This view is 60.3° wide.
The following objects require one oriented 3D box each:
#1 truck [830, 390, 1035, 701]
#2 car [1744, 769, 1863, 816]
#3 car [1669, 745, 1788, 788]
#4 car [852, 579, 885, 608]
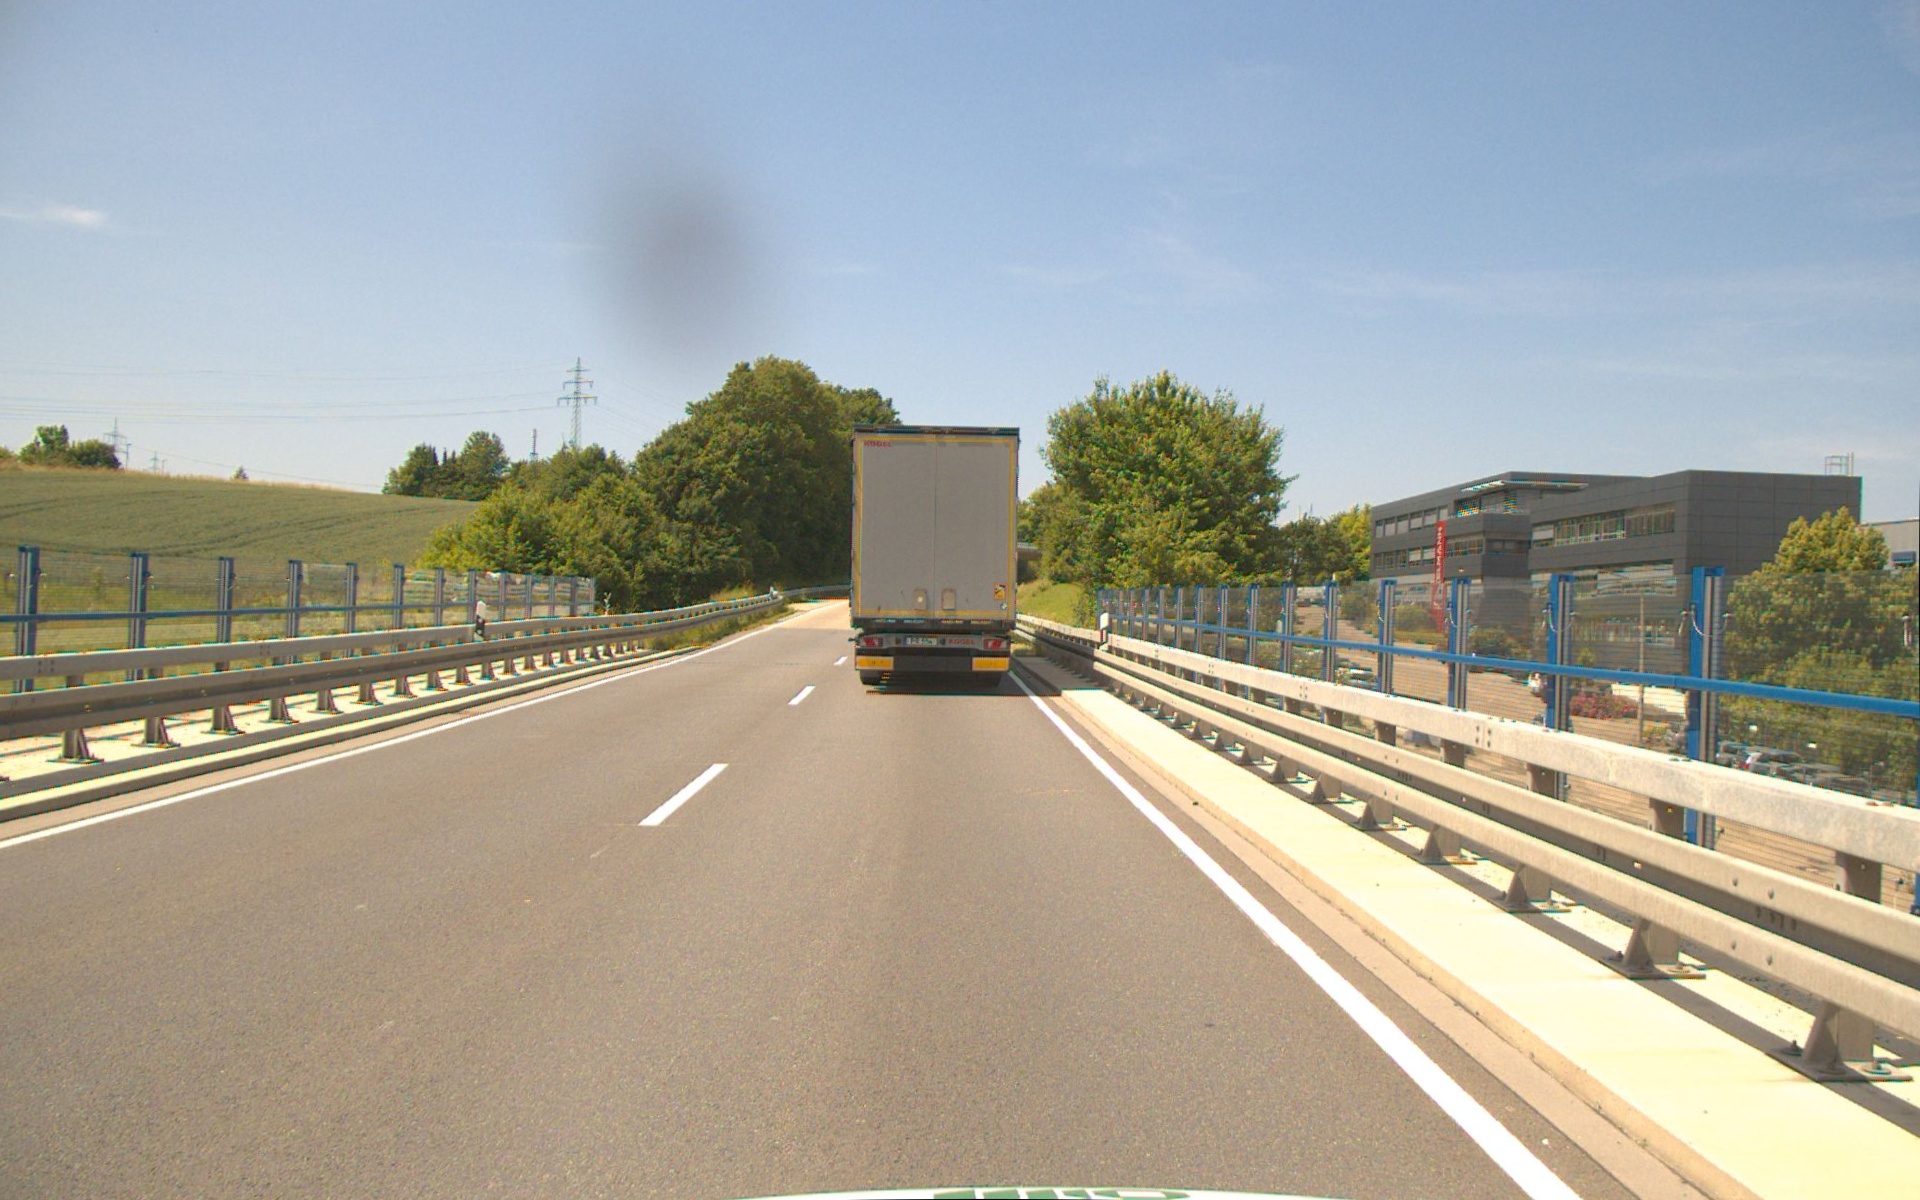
[{"bbox_3d":[-0.514,-0.909,29.333,2.808,4.434,9.787,3,1,-1],"label":"truck"},{"bbox_3d":[35.318,8.059,69.339,3.956,1.599,1.912,1,3,-2],"label":"car"},{"bbox_3d":[34.689,7.516,74.702,4.479,1.599,1.821,1,3,-2],"label":"car"},{"bbox_3d":[-5.300,-0.380,96.372,1.828,1.639,4.370,2,0,-3],"label":"car"}]
